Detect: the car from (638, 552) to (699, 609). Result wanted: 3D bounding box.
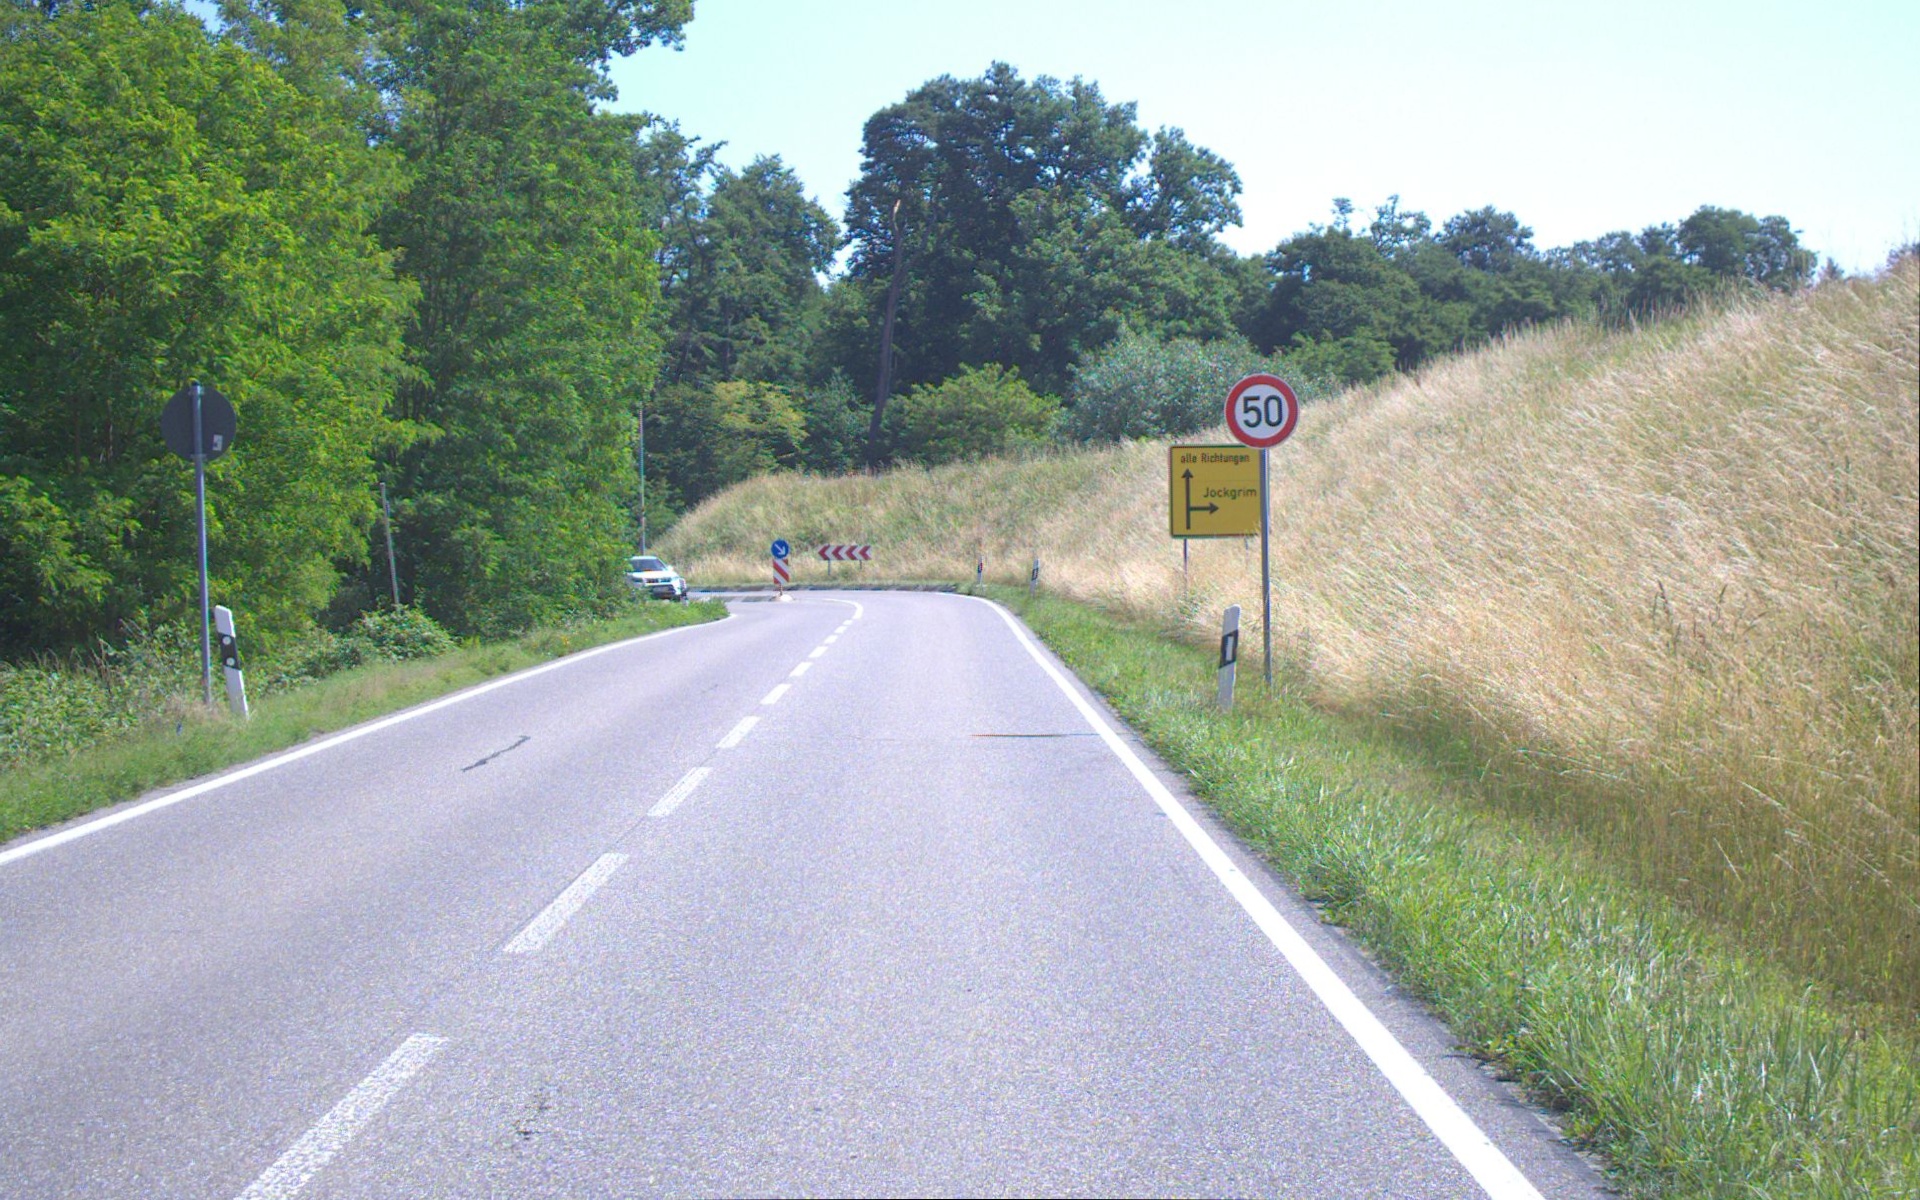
[{"bbox_3d":[-9.283,-0.623,109.283,1.809,1.671,4.001,-3,1,-6],"label":"car"}]
